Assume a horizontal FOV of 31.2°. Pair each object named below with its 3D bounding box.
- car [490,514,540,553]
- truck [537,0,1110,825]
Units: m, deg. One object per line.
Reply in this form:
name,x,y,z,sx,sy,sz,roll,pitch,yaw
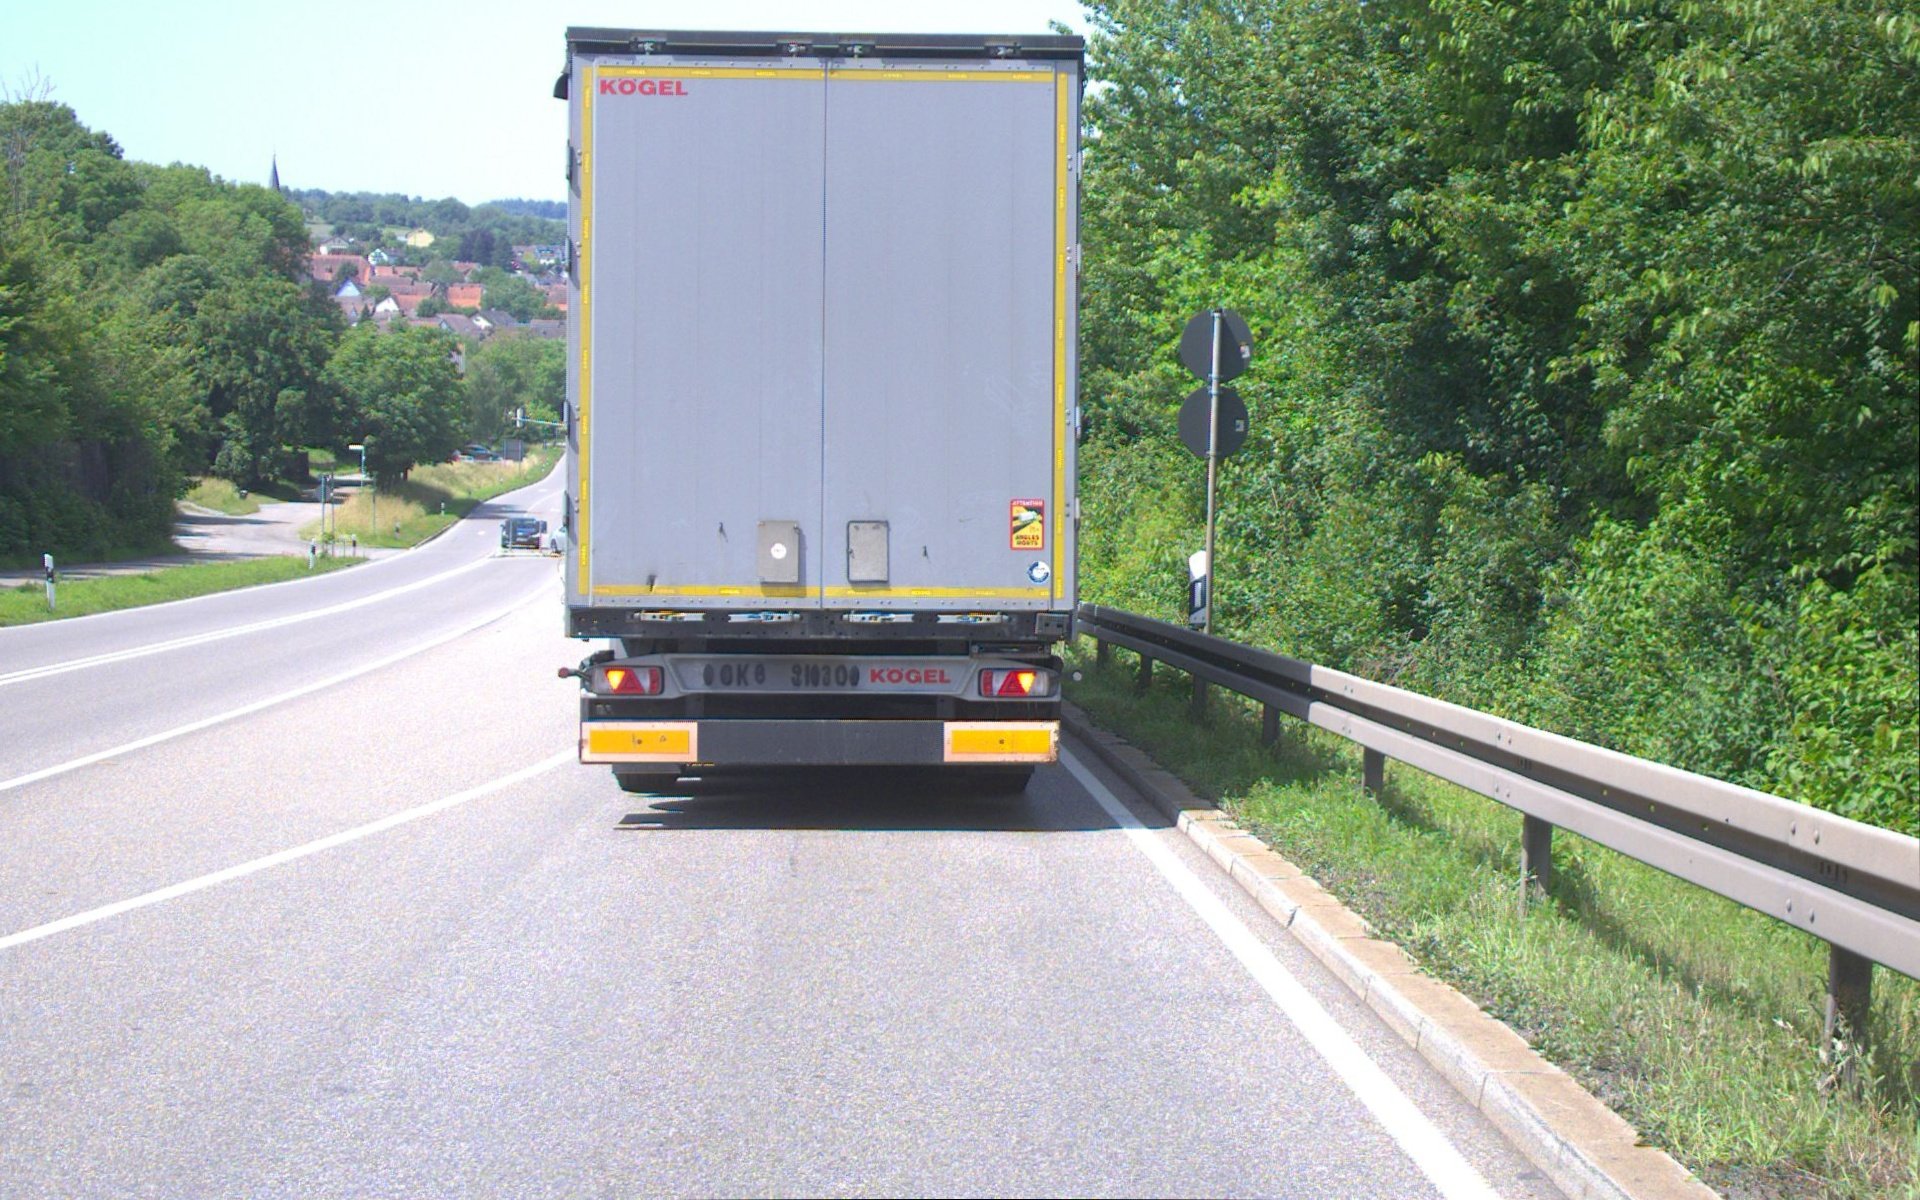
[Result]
car,-21.108,-3.126,162.882,1.805,1.788,3.843,1,0,-16
truck,-0.818,-1.054,22.719,2.757,4.016,11.925,1,1,-1
